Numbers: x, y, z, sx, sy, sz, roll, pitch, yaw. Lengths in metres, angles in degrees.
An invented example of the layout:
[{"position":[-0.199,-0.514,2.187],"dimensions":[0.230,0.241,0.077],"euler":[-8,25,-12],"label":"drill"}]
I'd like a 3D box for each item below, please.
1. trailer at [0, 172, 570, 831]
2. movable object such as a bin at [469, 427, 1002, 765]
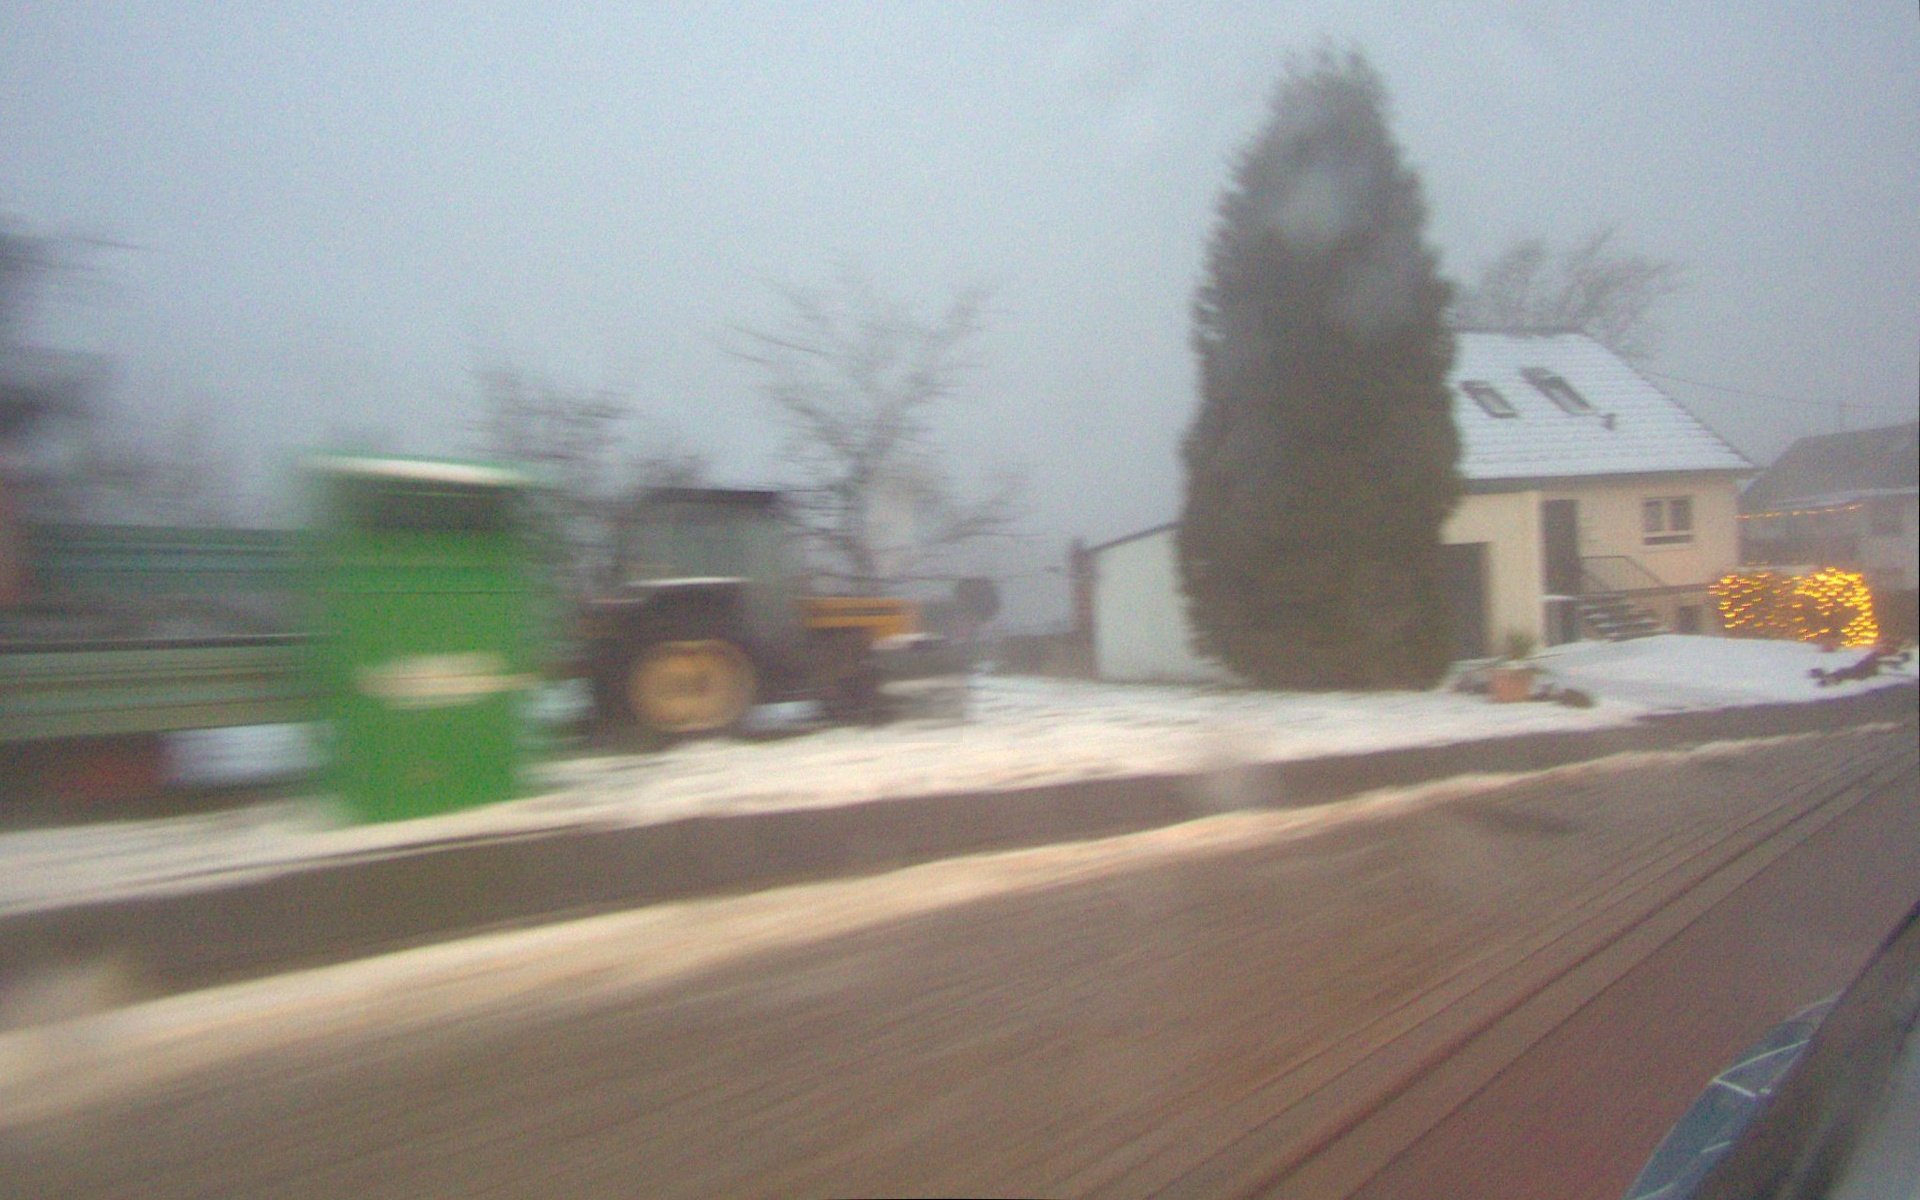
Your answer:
[{"position":[-5.729,-0.558,7.010],"dimensions":[4.973,3.605,2.881],"euler":[-1,1,-40],"label":"trailer"},{"position":[-2.102,-0.085,9.732],"dimensions":[4.429,2.499,2.396],"euler":[-1,1,-33],"label":"movable object such as a bin"}]
